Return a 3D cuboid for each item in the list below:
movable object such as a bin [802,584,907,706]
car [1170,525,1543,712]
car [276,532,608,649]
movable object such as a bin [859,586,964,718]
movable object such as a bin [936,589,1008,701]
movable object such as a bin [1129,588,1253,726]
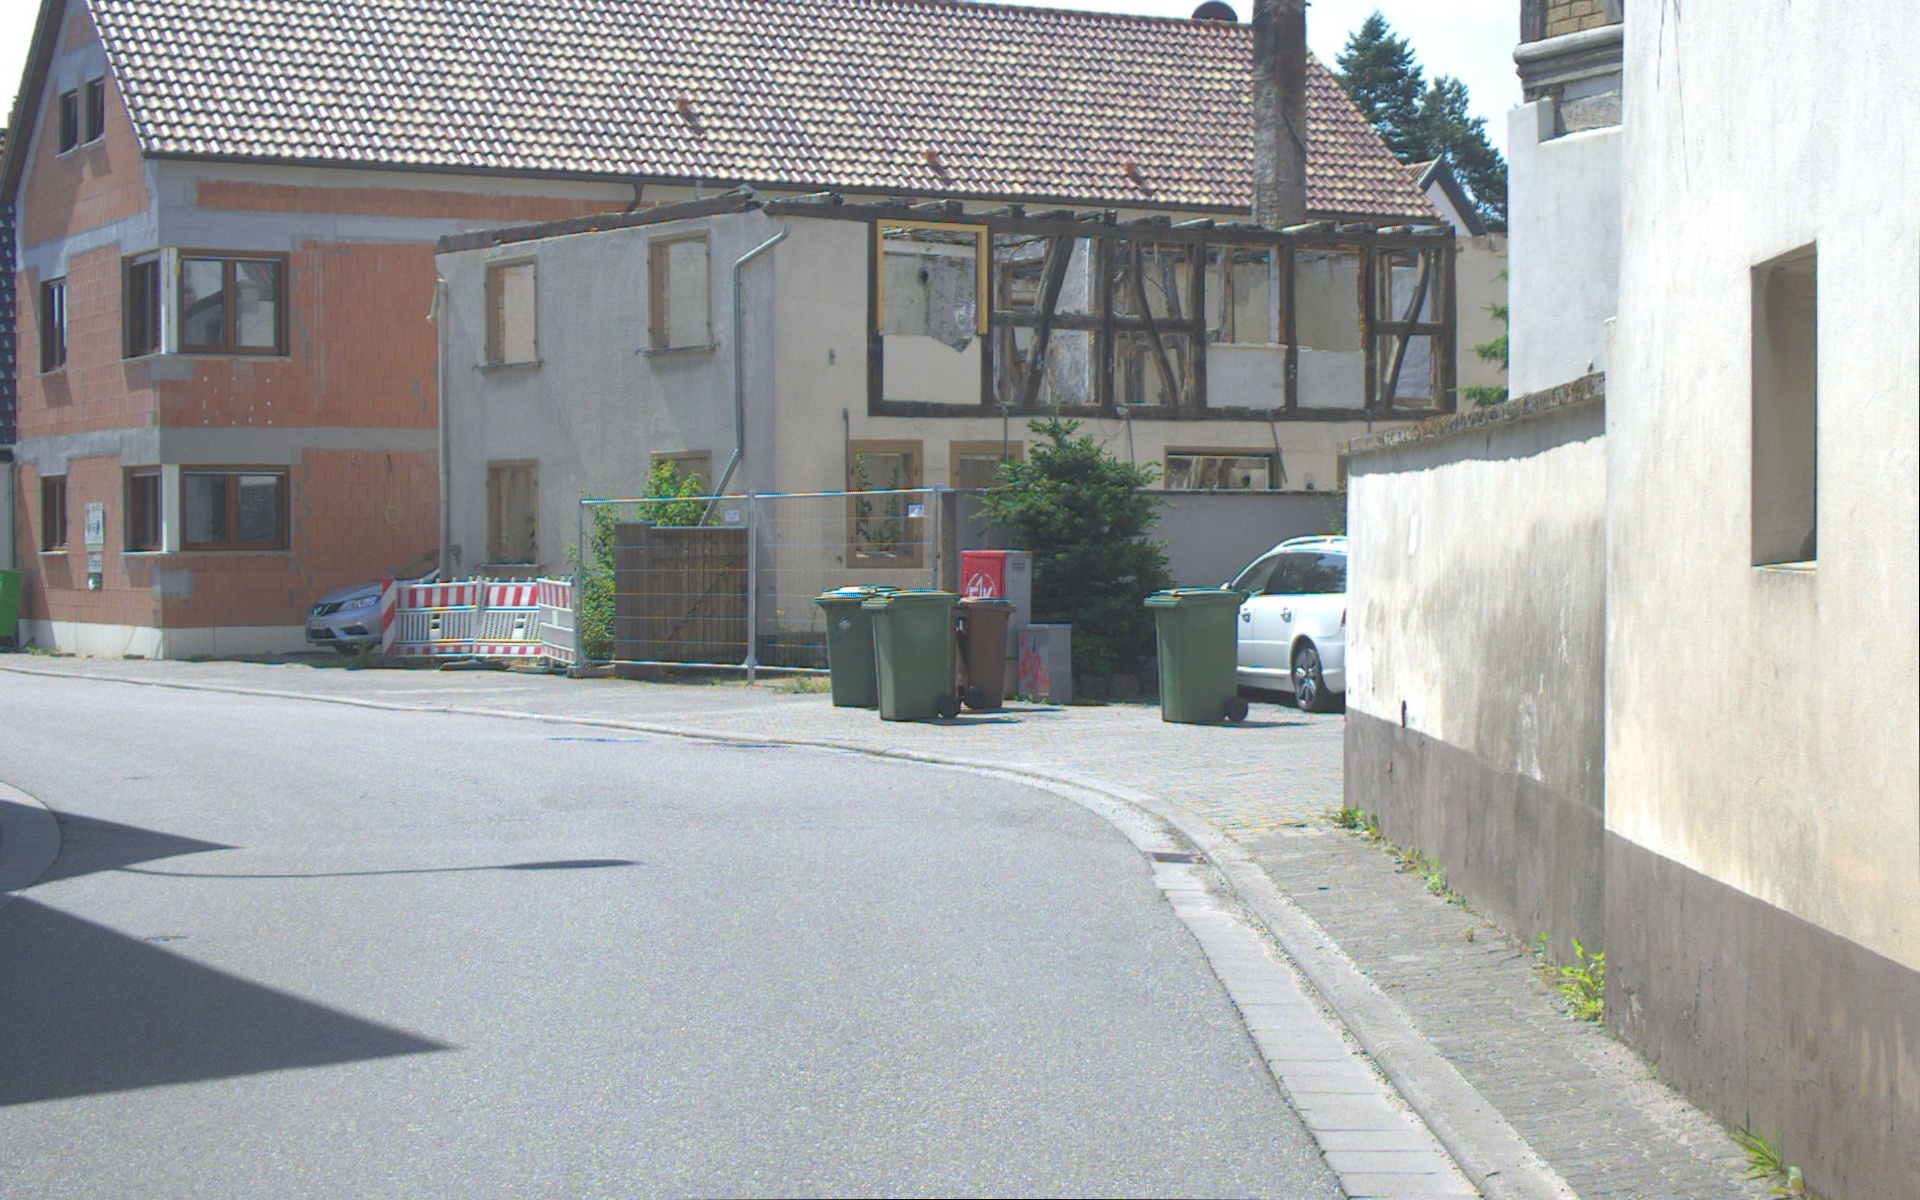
[{"bbox_3d":[-0.955,0.399,31.165,0.671,1.068,0.760,1,1,27],"label":"movable object such as a bin"},{"bbox_3d":[3.428,0.101,30.606,1.810,1.523,4.298,0,1,-15],"label":"car"},{"bbox_3d":[-7.072,-0.159,47.103,4.089,1.502,1.870,-2,2,-36],"label":"car"},{"bbox_3d":[-0.409,0.429,28.895,0.686,1.088,0.638,0,1,-23],"label":"movable object such as a bin"},{"bbox_3d":[0.105,0.395,30.280,0.465,0.967,0.496,0,1,-23],"label":"movable object such as a bin"},{"bbox_3d":[1.865,0.452,27.862,0.720,1.077,0.755,0,1,-26],"label":"movable object such as a bin"}]
